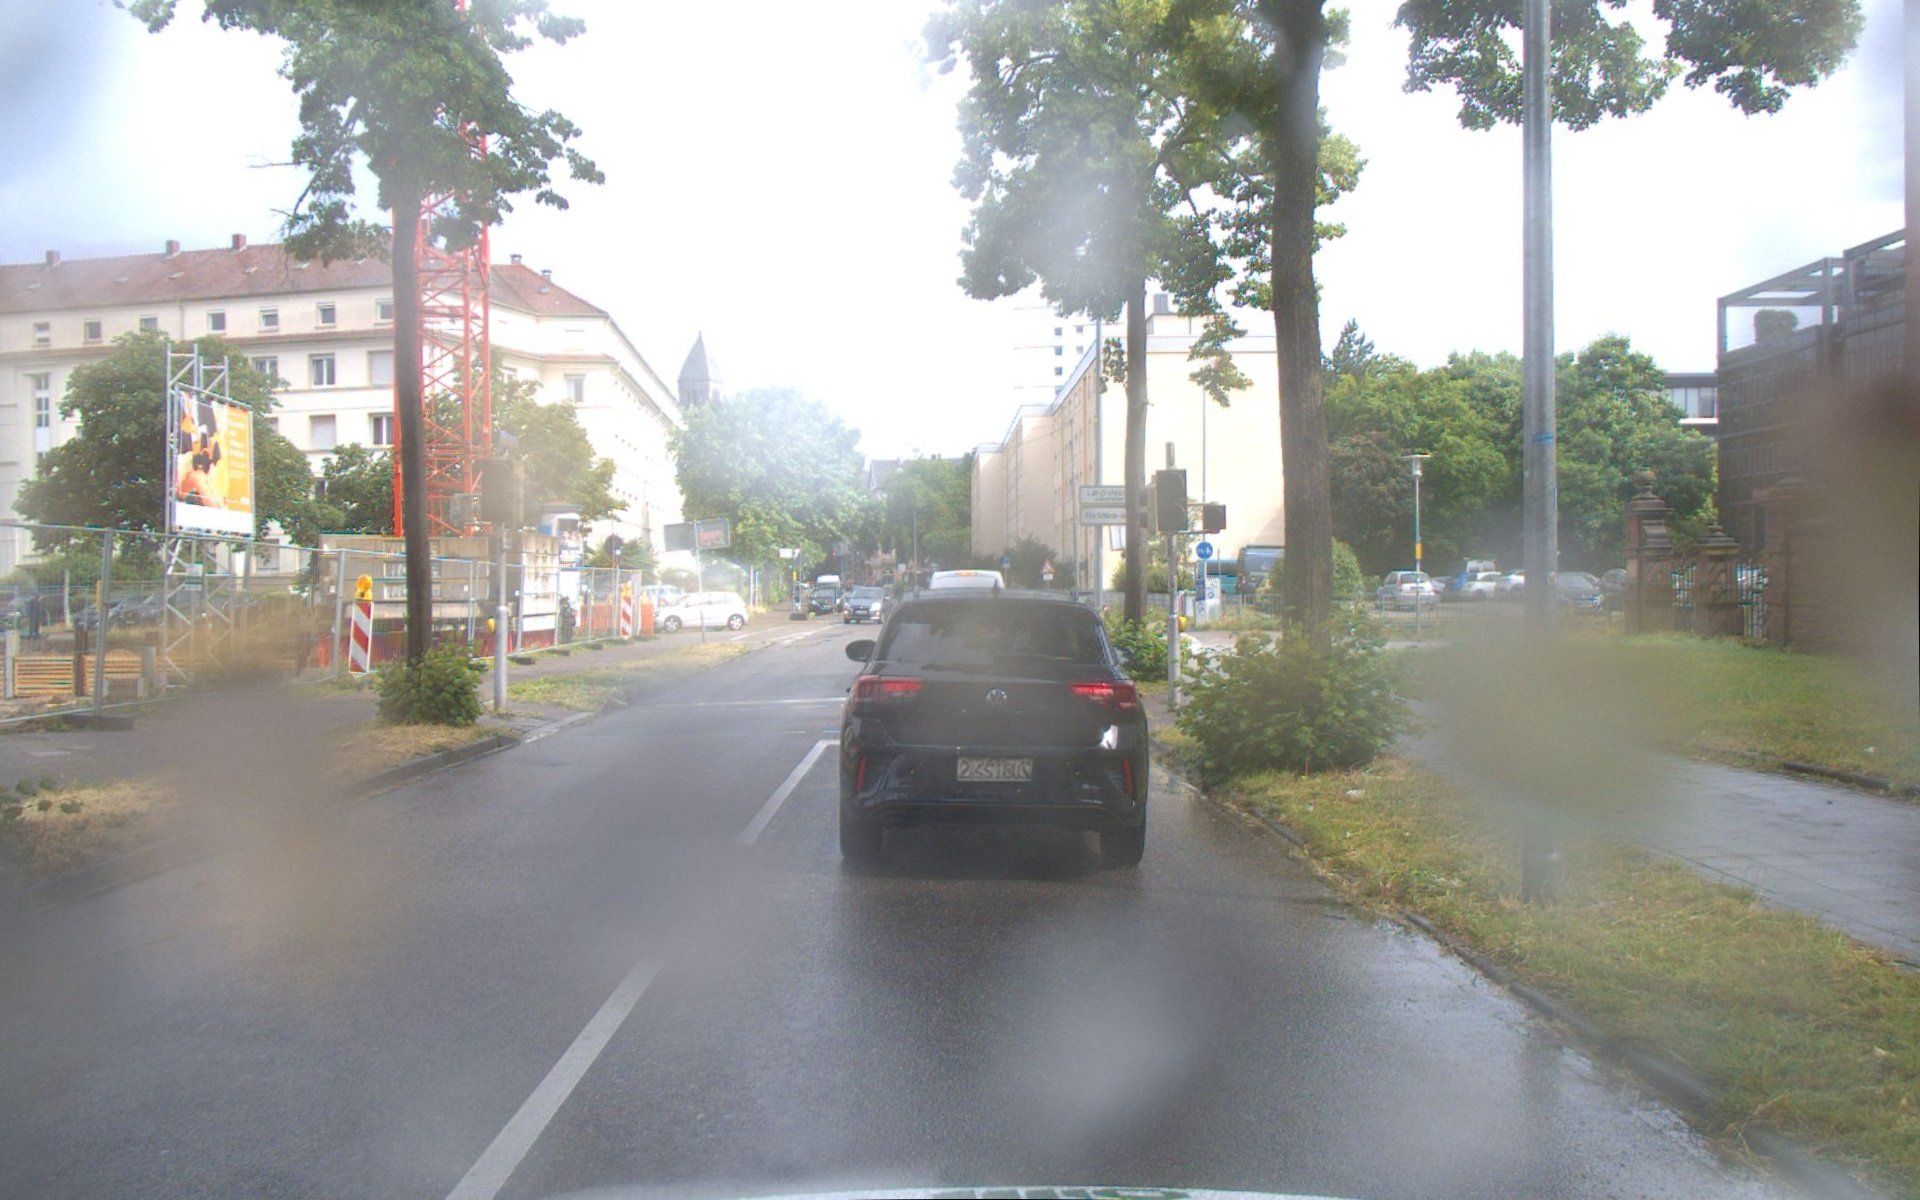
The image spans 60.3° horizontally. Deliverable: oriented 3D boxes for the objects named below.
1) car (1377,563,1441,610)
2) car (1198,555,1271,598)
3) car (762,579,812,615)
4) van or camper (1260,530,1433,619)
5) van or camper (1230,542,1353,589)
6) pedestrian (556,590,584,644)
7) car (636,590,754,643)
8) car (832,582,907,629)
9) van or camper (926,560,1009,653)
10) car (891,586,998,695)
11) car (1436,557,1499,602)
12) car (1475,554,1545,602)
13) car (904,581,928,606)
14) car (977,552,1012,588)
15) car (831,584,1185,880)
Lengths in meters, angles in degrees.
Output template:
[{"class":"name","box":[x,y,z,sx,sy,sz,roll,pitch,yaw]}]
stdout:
[{"class":"car","box":[17.758,-0.549,65.591,1.706,1.713,3.873,-4,0,5]},{"class":"car","box":[13.218,-1.135,79.749,3.335,1.812,1.761,-4,0,8]},{"class":"car","box":[-8.095,-0.154,77.670,1.557,1.538,3.734,-4,1,5]},{"class":"van or camper","box":[12.216,-0.809,52.512,4.931,2.641,2.167,-1,0,-2]},{"class":"van or camper","box":[13.918,-1.459,69.655,4.775,1.959,2.131,0,1,0]},{"class":"pedestrian","box":[-11.166,0.468,47.327,0.652,1.511,0.667,-1,1,-25]},{"class":"car","box":[-9.761,0.615,61.039,3.886,1.679,1.740,-4,0,-32]},{"class":"car","box":[-3.746,0.199,69.032,1.751,1.713,4.490,-4,1,15]},{"class":"van or camper","box":[0.190,0.114,37.469,1.782,1.981,4.195,0,1,1]},{"class":"car","box":[-0.214,0.680,29.672,1.645,1.738,3.911,-3,0,2]},{"class":"car","box":[24.927,-0.994,81.367,1.952,2.048,4.002,-4,0,3]},{"class":"car","box":[25.207,-0.997,75.944,1.952,2.048,4.002,-4,0,3]},{"class":"car","box":[-2.986,-0.447,111.813,1.559,1.538,3.730,-4,1,-2]},{"class":"car","box":[2.024,-1.743,97.527,1.953,2.049,3.999,0,0,-1]},{"class":"car","box":[0.244,0.673,10.680,1.856,1.549,4.000,0,0,0]}]
